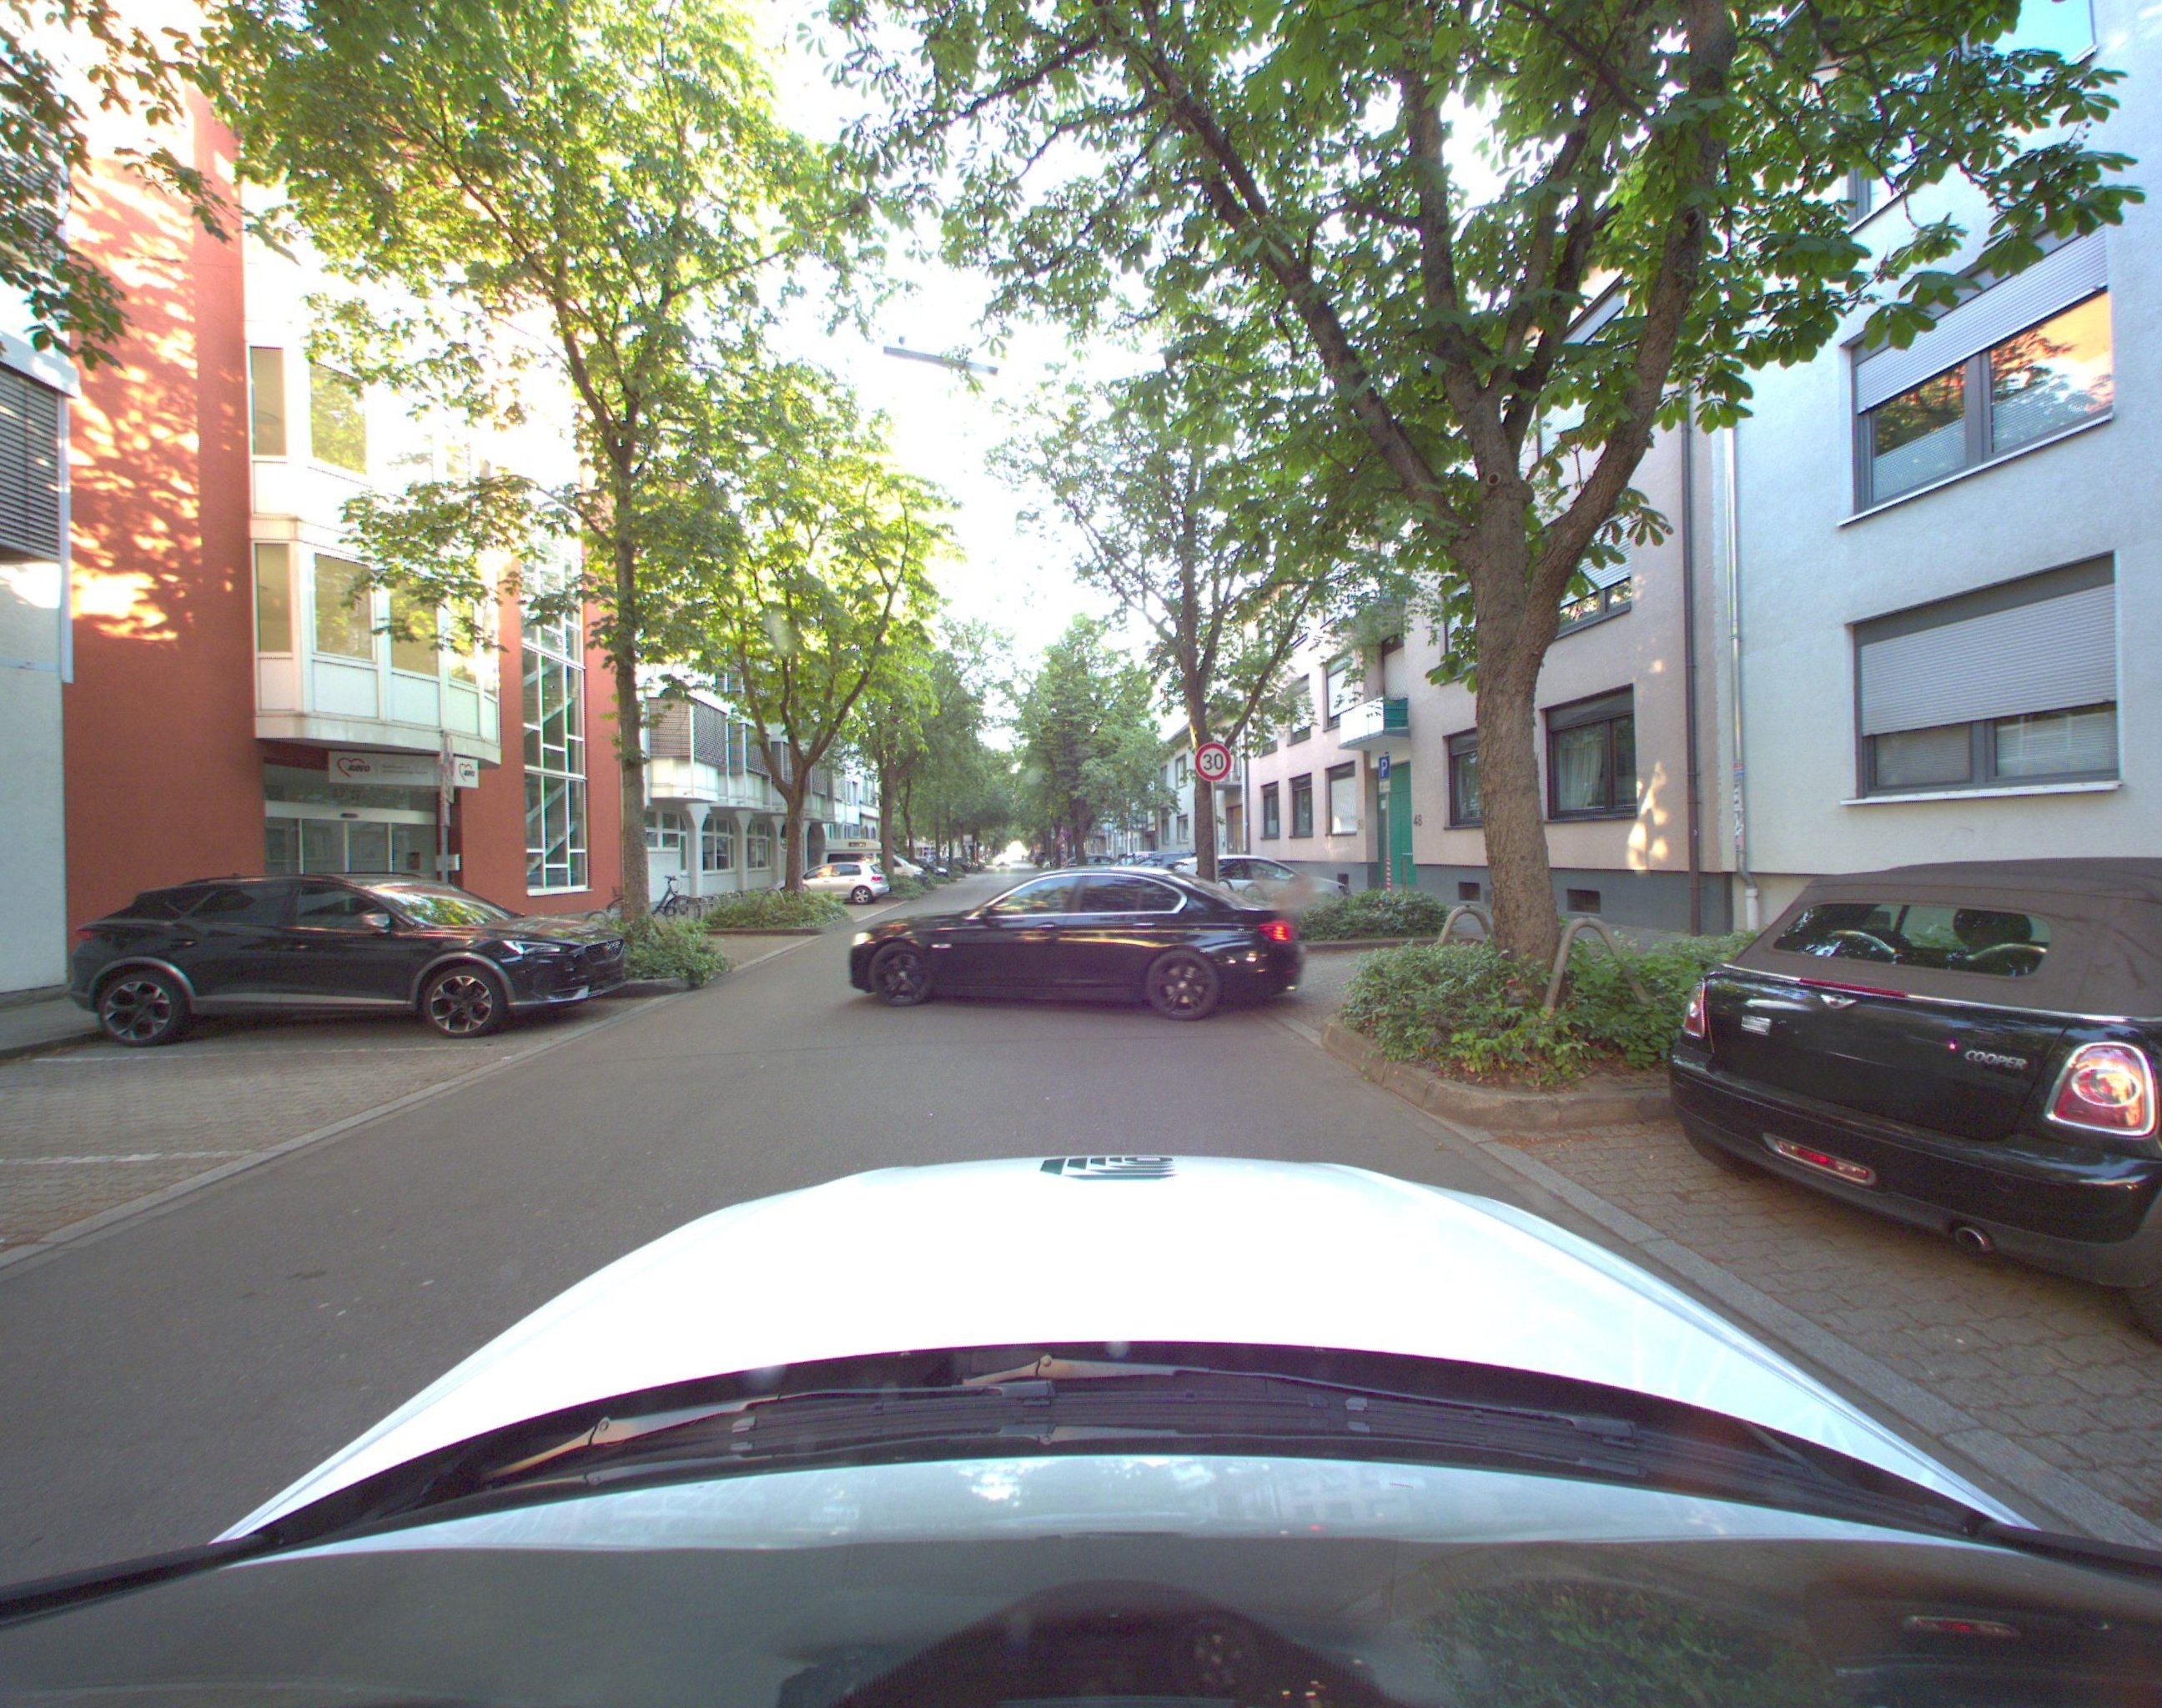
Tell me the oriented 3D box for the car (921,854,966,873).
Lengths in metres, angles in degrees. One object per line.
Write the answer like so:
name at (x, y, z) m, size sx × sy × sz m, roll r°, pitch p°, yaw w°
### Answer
car at (-12.929, 0.861, 76.635) m, size 3.959 × 1.619 × 1.783 m, roll -2°, pitch 0°, yaw -4°

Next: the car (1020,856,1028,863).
car at (-12.854, 1.161, 183.793) m, size 1.819 × 1.530 × 3.995 m, roll -2°, pitch 0°, yaw -4°

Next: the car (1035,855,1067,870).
car at (-3.725, 1.053, 101.053) m, size 3.959 × 1.684 × 1.783 m, roll -2°, pitch 0°, yaw -4°

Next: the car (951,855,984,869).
car at (-14.350, 0.990, 103.135) m, size 3.959 × 1.619 × 1.783 m, roll -2°, pitch 0°, yaw -4°

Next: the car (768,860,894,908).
car at (-8.847, 1.043, 29.084) m, size 3.960 × 1.517 × 1.783 m, roll -2°, pitch 0°, yaw -4°

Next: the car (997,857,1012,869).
car at (-10.323, 1.228, 110.275) m, size 1.775 × 1.562 × 4.162 m, roll -1°, pitch 0°, yaw -4°

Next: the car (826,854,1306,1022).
car at (-0.088, 0.803, 8.661) m, size 4.711 × 1.480 × 1.807 m, roll -1°, pitch 0°, yaw 14°

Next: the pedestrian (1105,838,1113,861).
pedestrian at (2.544, -0.404, 73.736) m, size 0.587 × 2.013 × 0.669 m, roll -1°, pitch 0°, yaw -3°

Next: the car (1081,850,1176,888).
car at (2.077, 0.666, 36.241) m, size 3.962 × 1.527 × 1.782 m, roll -2°, pitch 0°, yaw -5°

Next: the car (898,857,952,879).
car at (-12.397, 1.068, 64.967) m, size 3.959 × 1.619 × 1.783 m, roll -2°, pitch 0°, yaw -4°

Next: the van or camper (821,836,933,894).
van or camper at (-9.292, 0.484, 37.417) m, size 4.656 × 2.478 × 1.997 m, roll -1°, pitch 0°, yaw -5°

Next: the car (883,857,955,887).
car at (-9.593, 1.043, 48.420) m, size 3.960 × 1.619 × 1.783 m, roll -2°, pitch 0°, yaw -4°

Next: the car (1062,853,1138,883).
car at (1.018, 0.742, 45.083) m, size 3.962 × 1.527 × 1.782 m, roll -2°, pitch 0°, yaw -5°

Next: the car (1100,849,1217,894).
car at (2.768, 0.629, 29.756) m, size 3.963 × 1.476 × 1.781 m, roll -2°, pitch 0°, yaw -7°

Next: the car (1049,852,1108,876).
car at (-0.174, 0.658, 56.987) m, size 3.963 × 1.527 × 1.781 m, roll -2°, pitch 0°, yaw -6°

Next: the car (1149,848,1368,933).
car at (3.436, 0.675, 16.118) m, size 3.904 × 1.476 × 1.661 m, roll -2°, pitch 0°, yaw -7°

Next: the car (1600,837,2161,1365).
car at (4.348, 0.633, 3.268) m, size 3.608 × 1.363 × 1.660 m, roll -2°, pitch 0°, yaw -8°

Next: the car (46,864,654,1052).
car at (-7.022, 0.931, 8.272) m, size 4.347 × 1.517 × 1.782 m, roll -2°, pitch 0°, yaw -5°
